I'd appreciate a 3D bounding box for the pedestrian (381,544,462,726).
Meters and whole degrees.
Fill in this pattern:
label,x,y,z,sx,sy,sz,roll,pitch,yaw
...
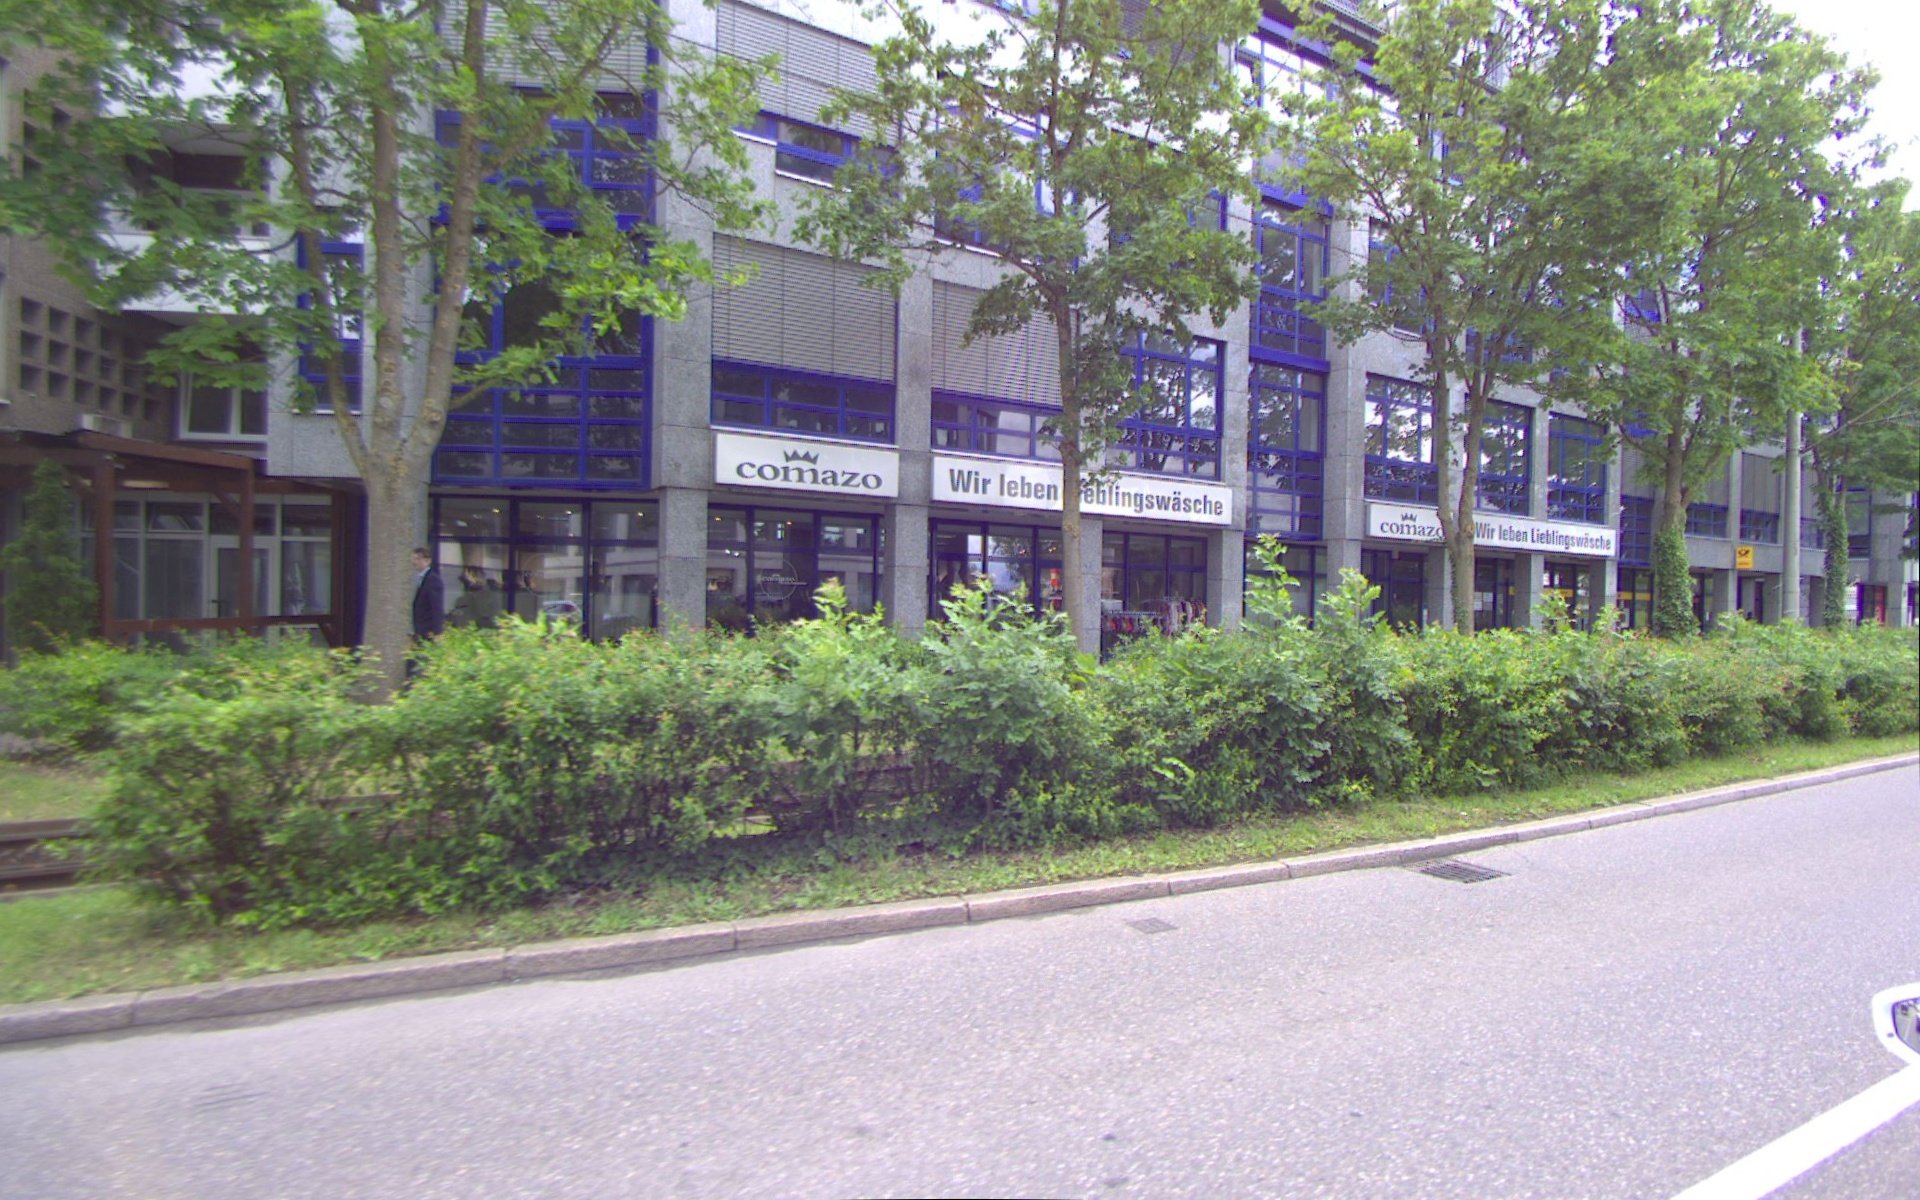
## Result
label,x,y,z,sx,sy,sz,roll,pitch,yaw
pedestrian,-6.060,0.382,11.296,0.723,1.949,0.810,2,0,-31
